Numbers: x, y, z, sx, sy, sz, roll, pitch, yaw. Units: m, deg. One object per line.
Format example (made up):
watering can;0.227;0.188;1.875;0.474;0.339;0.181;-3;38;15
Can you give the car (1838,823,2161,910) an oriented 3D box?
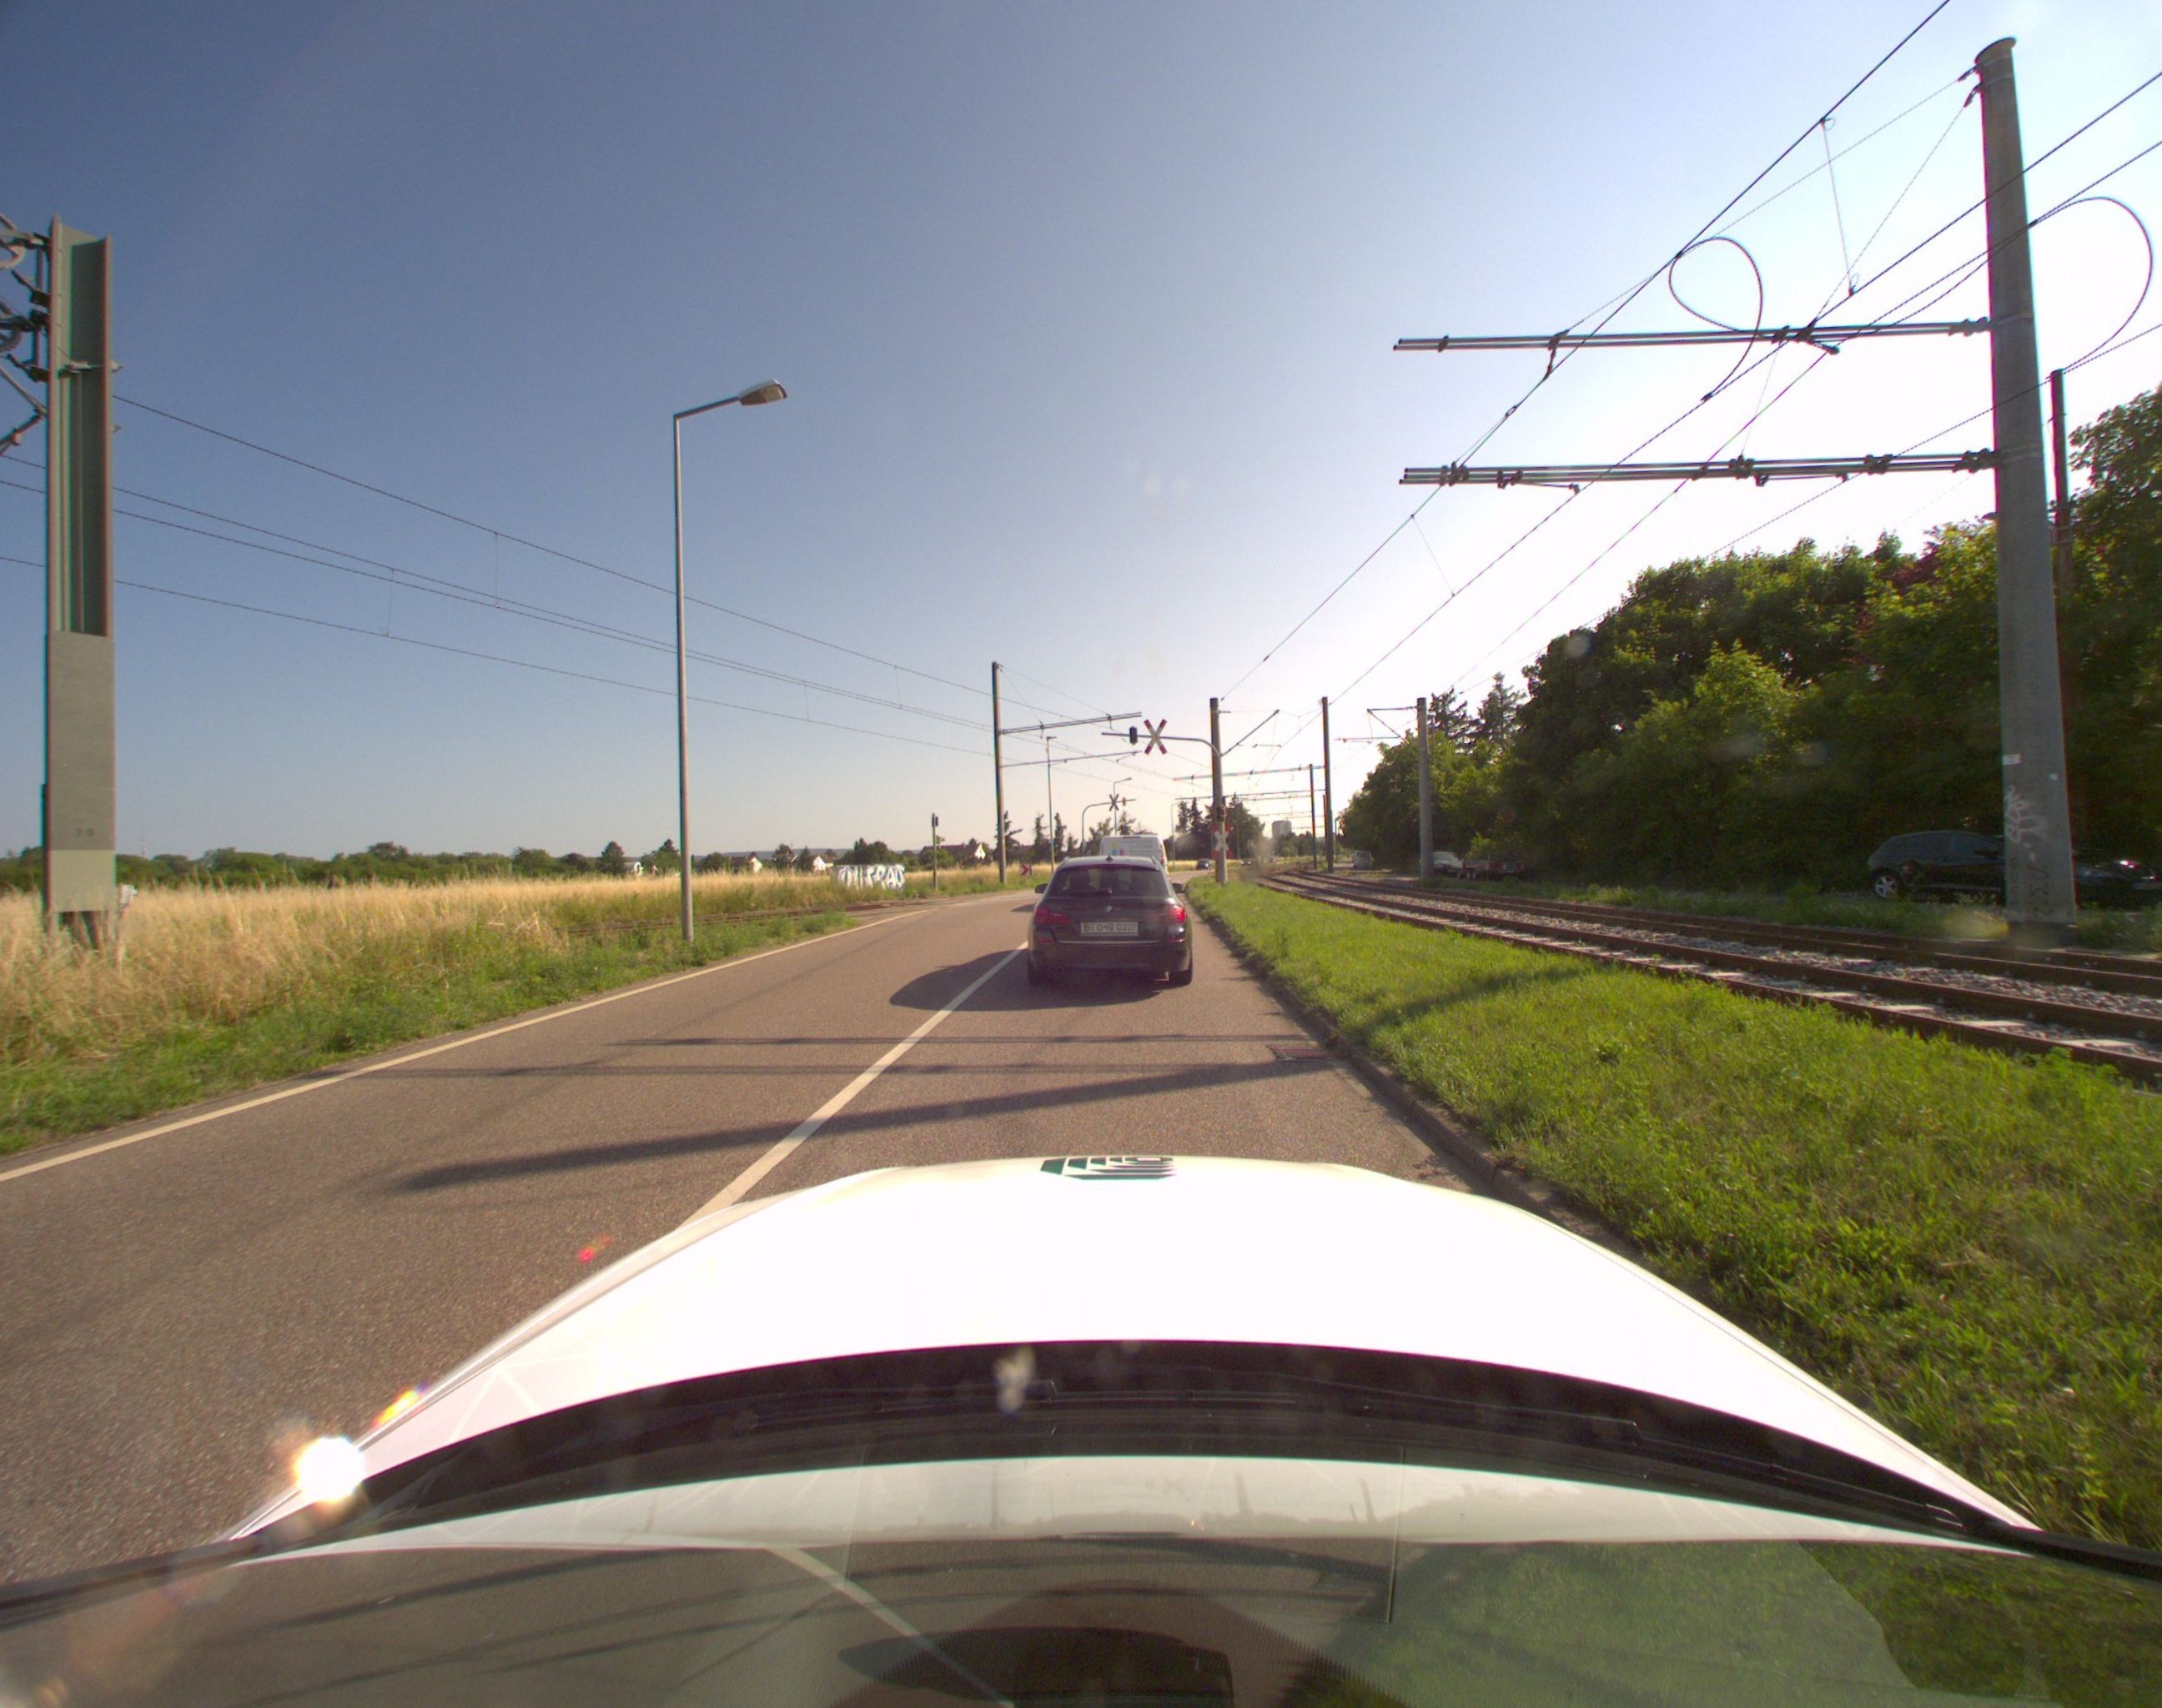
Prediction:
car;17.461;0.222;15.677;1.617;1.410;4.521;0;-1;1

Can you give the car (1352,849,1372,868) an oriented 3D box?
car;32.104;0.520;93.098;1.978;2.004;5.090;1;0;17

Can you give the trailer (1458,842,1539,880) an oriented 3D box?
trailer;18.752;0.316;36.779;2.015;1.596;4.270;1;0;9

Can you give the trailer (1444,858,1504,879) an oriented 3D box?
trailer;19.605;0.706;40.747;1.721;0.939;3.737;1;0;9

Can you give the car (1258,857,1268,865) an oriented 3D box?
car;39.968;1.568;179.111;1.693;1.665;4.611;-1;0;18

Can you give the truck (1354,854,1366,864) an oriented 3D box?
truck;56.462;1.036;164.961;2.187;1.819;5.956;-2;-1;18

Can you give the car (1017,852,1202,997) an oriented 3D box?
car;0.360;0.712;10.681;1.862;1.452;4.745;-1;0;2

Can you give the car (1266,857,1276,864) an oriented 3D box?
car;45.957;1.495;196.902;1.698;1.549;3.948;-2;0;20

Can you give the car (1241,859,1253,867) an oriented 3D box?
car;31.034;1.594;152.273;1.679;1.439;4.303;-1;0;18

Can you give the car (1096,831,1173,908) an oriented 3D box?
car;1.684;0.418;23.886;1.847;1.988;5.119;-1;0;8

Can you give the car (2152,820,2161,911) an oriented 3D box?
car;17.379;0.132;10.537;1.481;1.401;4.146;-2;-1;-2

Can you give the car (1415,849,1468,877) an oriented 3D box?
car;20.062;0.478;45.511;1.687;1.456;4.896;1;0;12
